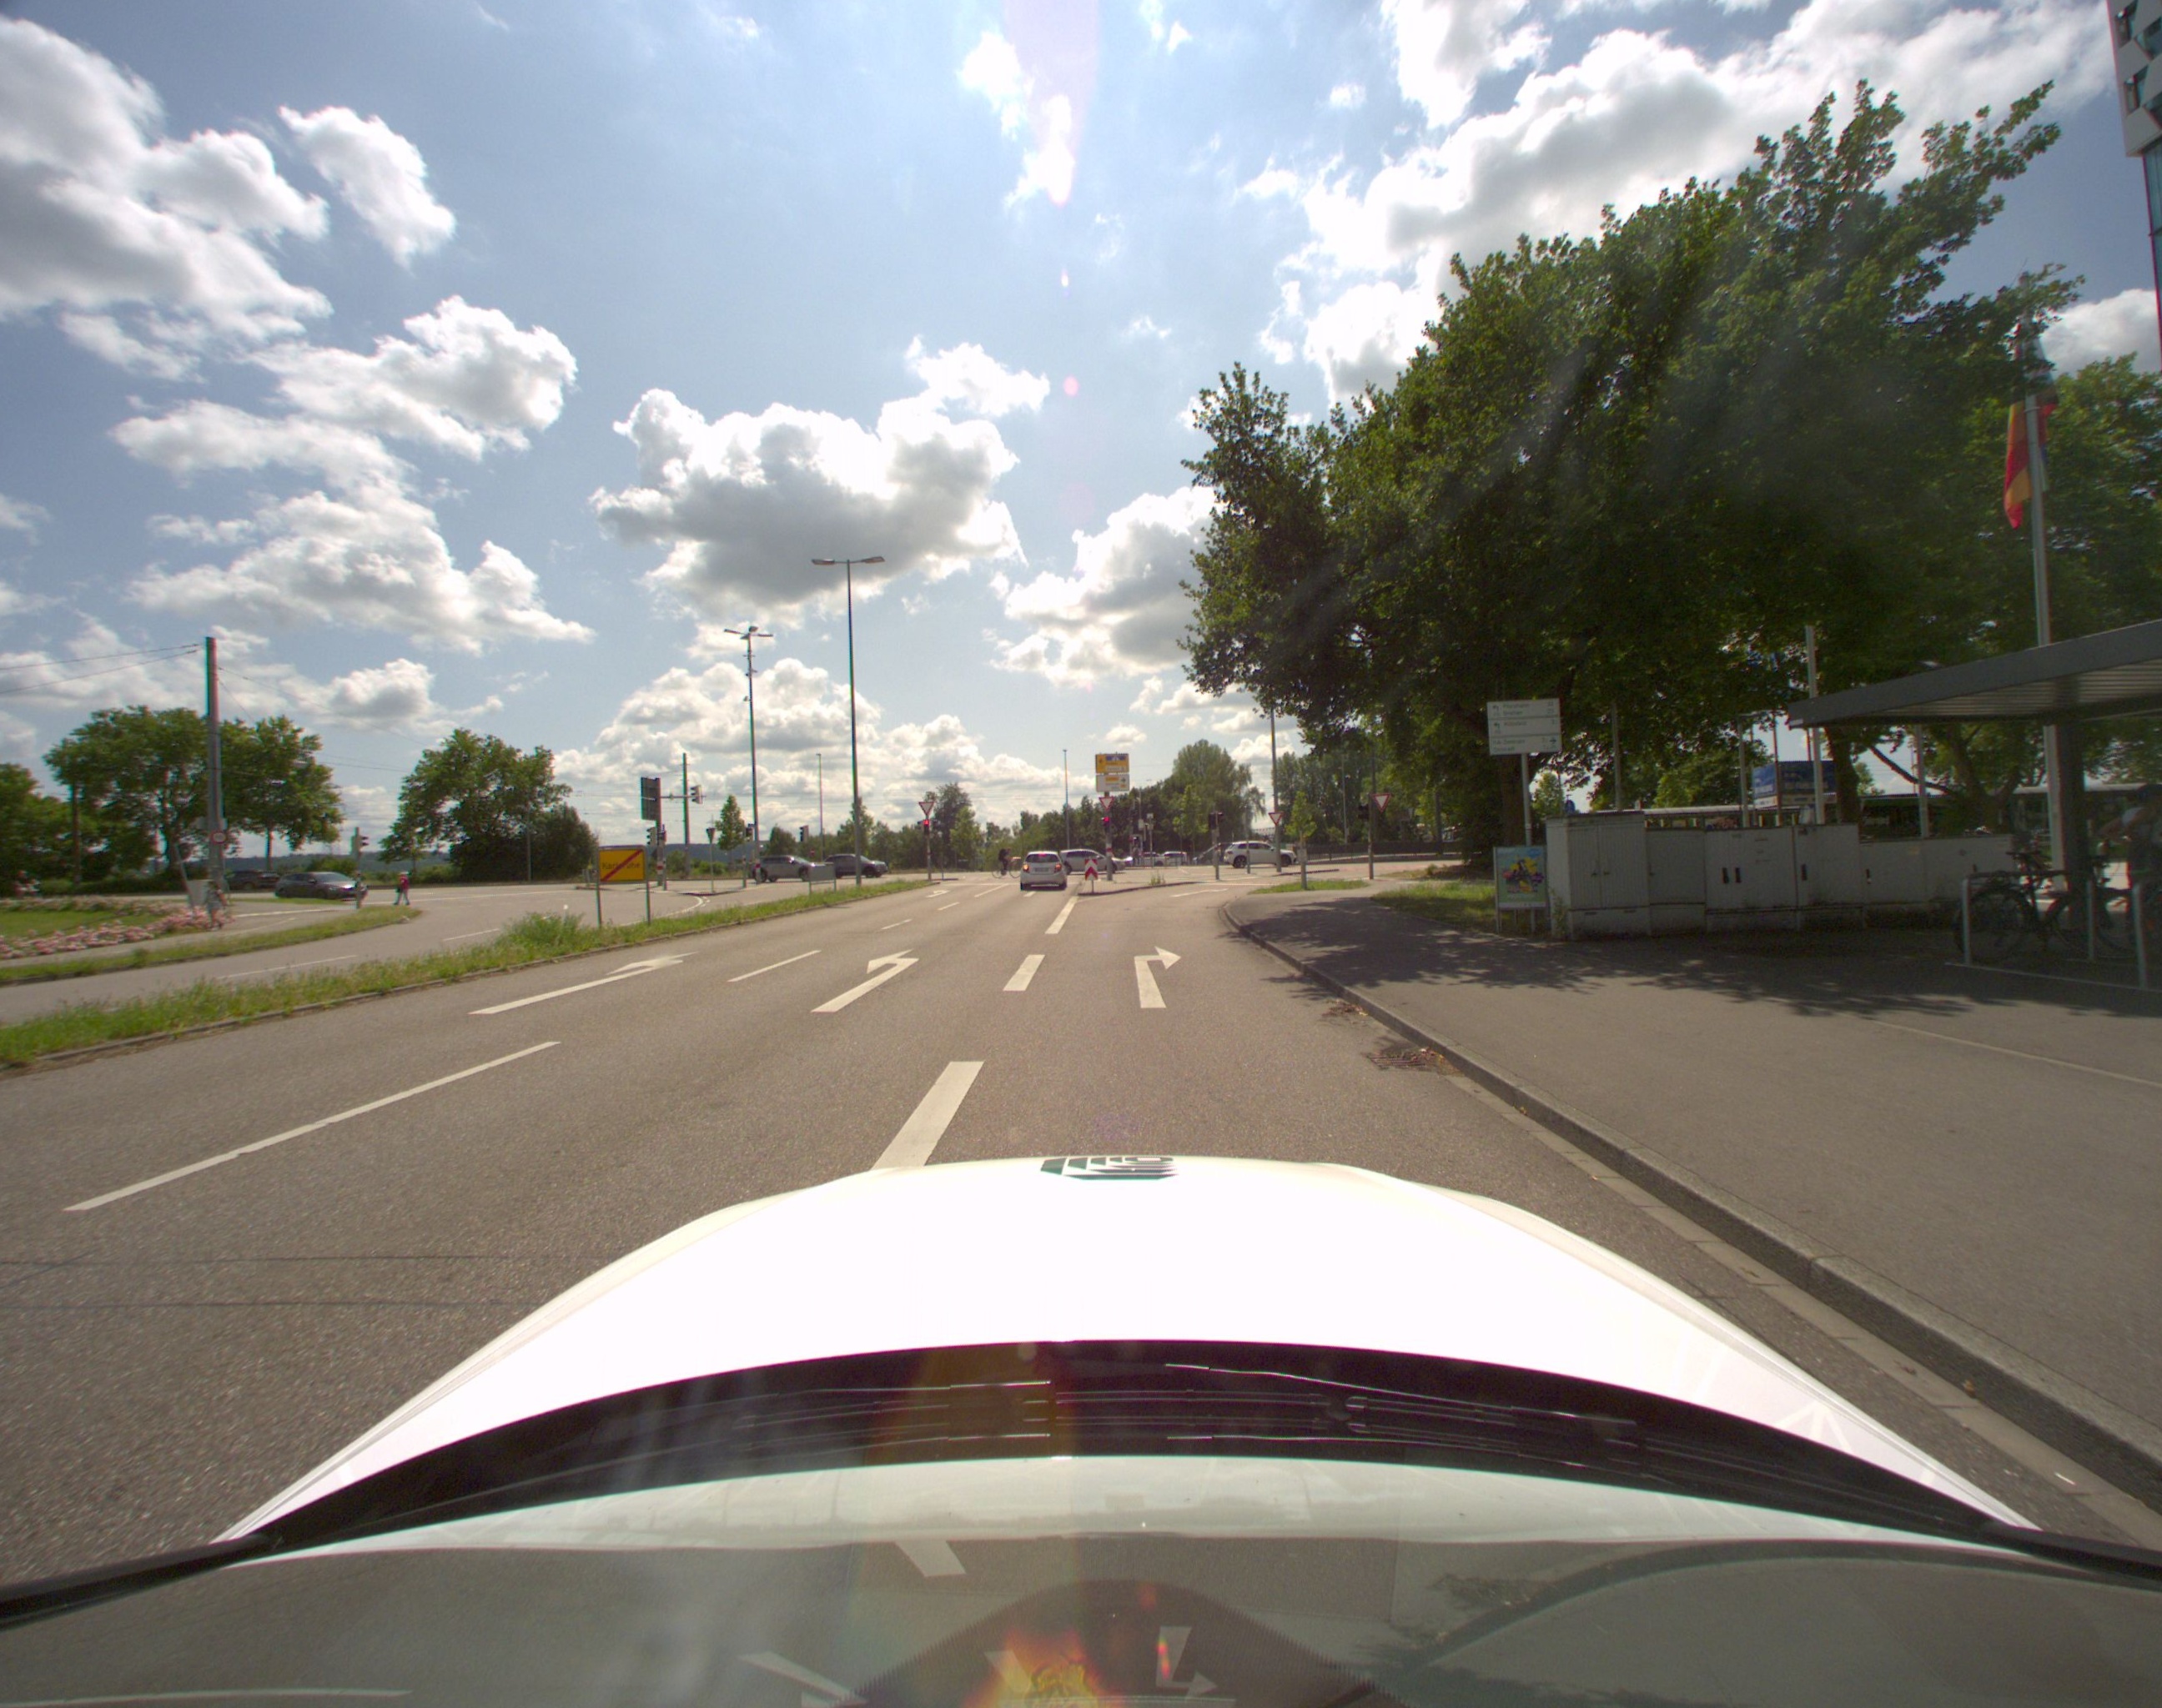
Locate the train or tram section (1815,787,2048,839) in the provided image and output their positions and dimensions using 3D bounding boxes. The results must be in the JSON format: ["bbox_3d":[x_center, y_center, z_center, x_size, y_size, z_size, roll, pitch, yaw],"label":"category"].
[{"bbox_3d":[61.247,-2.924,58.829,14.017,3.186,3.045,-2,-1,-2],"label":"train or tram section"}]

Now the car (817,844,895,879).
[{"bbox_3d":[-14.320,0.475,52.031,4.333,1.989,2.000,-3,0,1],"label":"car"}]

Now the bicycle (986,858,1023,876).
[{"bbox_3d":[-4.237,0.719,45.173,2.010,0.999,0.622,0,0,1],"label":"bicycle"}]

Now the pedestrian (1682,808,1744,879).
[{"bbox_3d":[17.582,-0.286,22.678,1.000,1.902,0.978,-3,-1,16],"label":"pedestrian"}]

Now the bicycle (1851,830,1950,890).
[{"bbox_3d":[16.719,0.117,16.614,1.924,1.108,0.501,-3,-2,-17],"label":"bicycle"}]

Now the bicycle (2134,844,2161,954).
[{"bbox_3d":[10.774,0.370,7.432,1.858,0.994,0.423,-3,0,-3],"label":"bicycle"}]

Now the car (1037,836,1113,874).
[{"bbox_3d":[-0.338,0.070,48.143,4.333,1.989,2.000,-3,0,1],"label":"car"}]

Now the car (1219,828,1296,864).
[{"bbox_3d":[10.960,-0.481,50.882,4.333,1.989,2.000,-3,0,1],"label":"car"}]

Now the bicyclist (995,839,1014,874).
[{"bbox_3d":[-4.255,0.135,45.164,0.917,1.846,0.611,-2,0,1],"label":"bicyclist"}]

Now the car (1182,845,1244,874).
[{"bbox_3d":[9.214,0.381,57.083,3.974,1.783,1.909,-3,0,-1],"label":"car"}]

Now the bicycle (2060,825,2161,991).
[{"bbox_3d":[8.669,0.357,6.247,1.858,1.187,0.423,-3,0,-3],"label":"bicycle"}]

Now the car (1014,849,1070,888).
[{"bbox_3d":[-1.521,0.537,33.057,1.887,1.470,3.836,-1,0,2],"label":"car"}]

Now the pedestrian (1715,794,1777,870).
[{"bbox_3d":[18.731,-0.610,22.965,1.000,2.072,0.978,-3,0,16],"label":"pedestrian"}]

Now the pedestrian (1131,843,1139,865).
[{"bbox_3d":[4.314,0.017,65.115,0.608,1.769,0.673,-2,0,3],"label":"pedestrian"}]

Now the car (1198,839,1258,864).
[{"bbox_3d":[12.250,-0.197,68.153,4.635,1.820,2.000,-3,0,1],"label":"car"}]

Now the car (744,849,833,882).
[{"bbox_3d":[-17.503,0.691,48.864,4.490,1.674,1.904,-4,0,0],"label":"car"}]

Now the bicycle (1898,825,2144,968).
[{"bbox_3d":[8.708,0.378,7.565,1.858,1.187,0.423,-3,0,-3],"label":"bicycle"}]

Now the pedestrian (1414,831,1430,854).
[{"bbox_3d":[27.417,-0.932,65.531,0.923,1.807,0.736,-2,0,1],"label":"pedestrian"}]

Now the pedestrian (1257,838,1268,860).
[{"bbox_3d":[14.400,-0.400,64.496,0.703,1.721,0.601,-3,0,4],"label":"pedestrian"}]

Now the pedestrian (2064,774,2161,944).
[{"bbox_3d":[10.663,0.049,8.303,0.540,1.662,0.548,-3,-1,13],"label":"pedestrian"}]

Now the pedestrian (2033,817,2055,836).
[{"bbox_3d":[64.469,-1.842,54.525,0.637,1.190,0.695,-2,1,0],"label":"pedestrian"}]

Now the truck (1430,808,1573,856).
[{"bbox_3d":[40.062,-2.087,77.873,11.912,4.104,2.954,-2,0,2],"label":"truck"}]

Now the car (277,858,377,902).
[{"bbox_3d":[-38.641,1.313,41.748,3.955,2.013,2.009,-3,0,18],"label":"car"}]

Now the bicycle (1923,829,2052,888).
[{"bbox_3d":[17.121,0.080,15.394,1.854,0.994,0.424,-3,0,3],"label":"bicycle"}]

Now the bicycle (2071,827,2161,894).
[{"bbox_3d":[16.959,0.083,12.983,1.857,0.994,0.464,-2,0,-3],"label":"bicycle"}]

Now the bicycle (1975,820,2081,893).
[{"bbox_3d":[16.705,0.037,14.371,1.678,1.157,0.459,-3,0,-13],"label":"bicycle"}]

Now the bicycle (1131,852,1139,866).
[{"bbox_3d":[4.327,0.365,65.149,0.616,1.087,1.724,-2,0,4],"label":"bicycle"}]

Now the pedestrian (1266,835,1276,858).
[{"bbox_3d":[14.859,-0.605,63.737,0.673,1.748,0.638,-2,1,4],"label":"pedestrian"}]

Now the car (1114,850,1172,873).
[{"bbox_3d":[5.575,0.674,73.978,5.100,1.808,2.000,-3,0,1],"label":"car"}]

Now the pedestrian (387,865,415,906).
[{"bbox_3d":[-31.409,1.453,37.606,0.800,1.837,0.860,0,-1,-27],"label":"pedestrian"}]

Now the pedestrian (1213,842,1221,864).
[{"bbox_3d":[10.550,-0.081,63.236,0.520,1.721,0.731,-3,0,5],"label":"pedestrian"}]
